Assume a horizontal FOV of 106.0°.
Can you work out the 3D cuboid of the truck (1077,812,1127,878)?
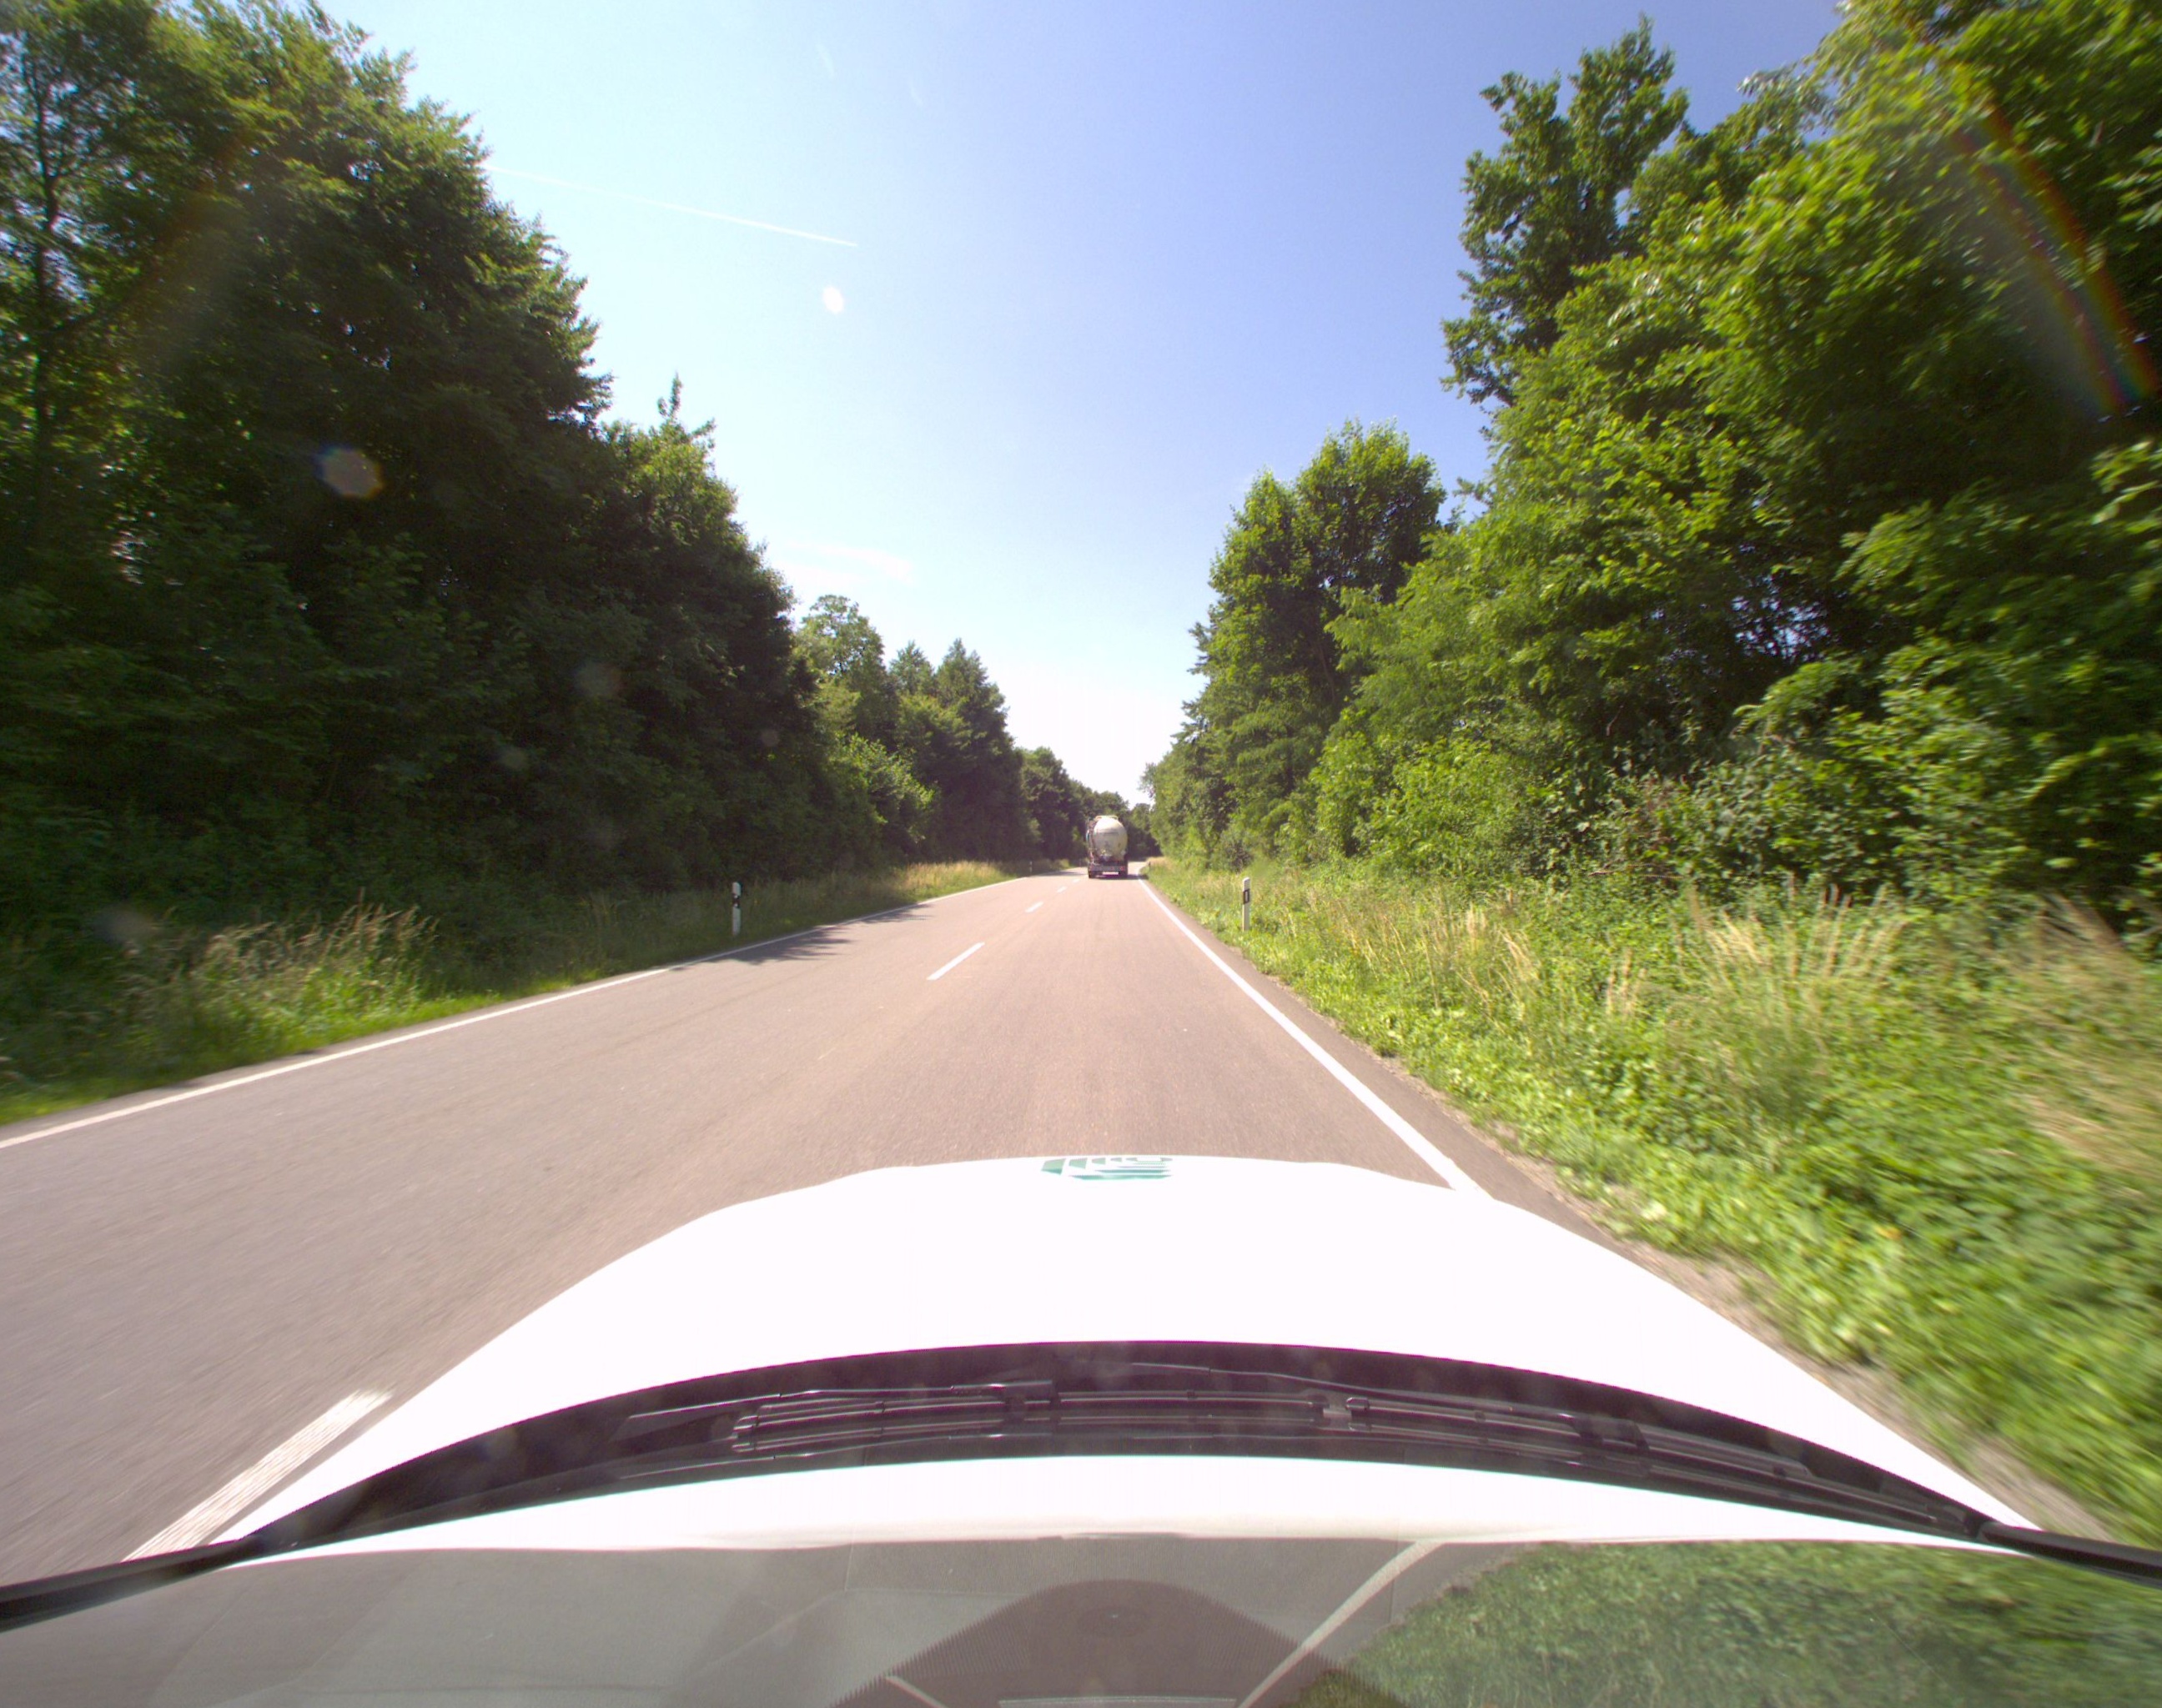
[{"bbox_3d":[1.542,-0.556,57.147,3.038,3.998,15.643,0,0,2],"label":"truck"}]
